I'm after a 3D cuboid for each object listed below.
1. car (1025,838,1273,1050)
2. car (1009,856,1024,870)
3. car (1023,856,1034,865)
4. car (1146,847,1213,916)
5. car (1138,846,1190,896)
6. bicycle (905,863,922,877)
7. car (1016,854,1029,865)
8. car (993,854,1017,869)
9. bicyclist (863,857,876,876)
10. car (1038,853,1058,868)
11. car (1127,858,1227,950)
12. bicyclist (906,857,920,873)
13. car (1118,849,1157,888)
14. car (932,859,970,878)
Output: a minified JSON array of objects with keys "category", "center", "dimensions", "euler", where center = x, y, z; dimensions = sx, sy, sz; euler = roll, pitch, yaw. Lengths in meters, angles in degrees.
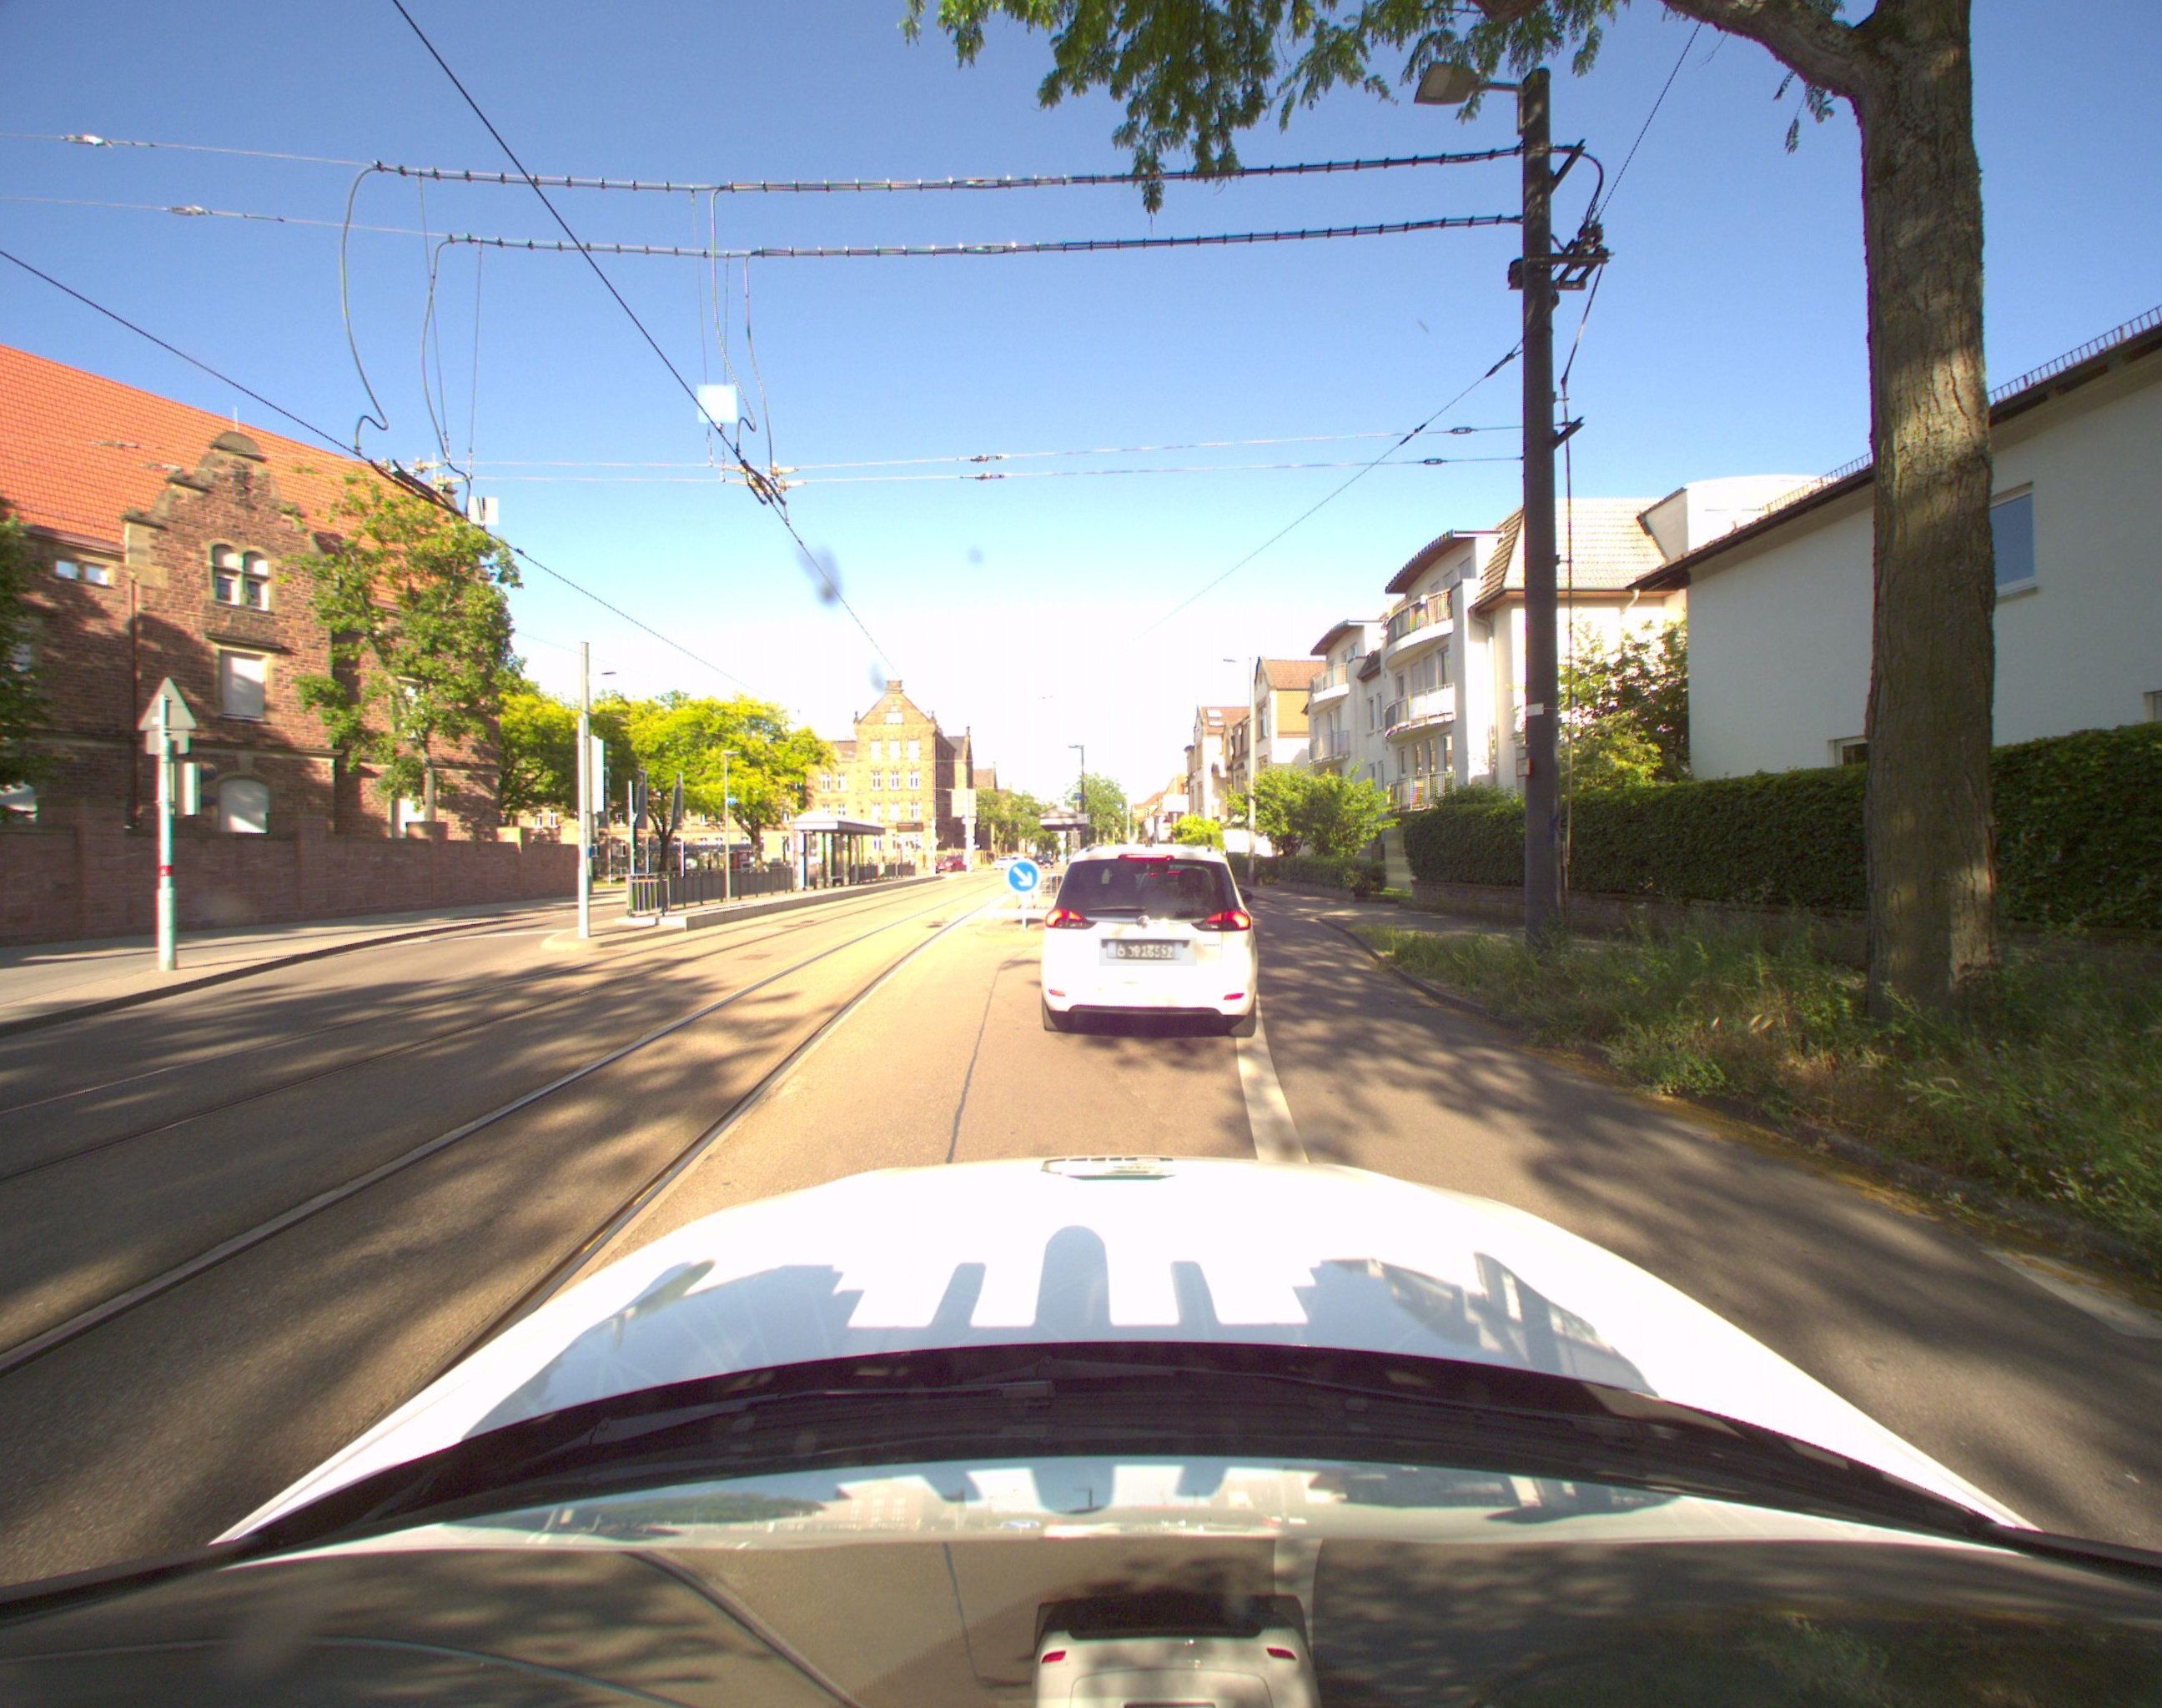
[{"category":"car","center":[0.759,0.676,8.195],"dimensions":[1.868,1.585,4.008],"euler":[-1,0,7]},{"category":"car","center":[-8.547,1.205,108.200],"dimensions":[1.822,1.788,4.251],"euler":[-1,0,-2]},{"category":"car","center":[-8.790,1.016,136.193],"dimensions":[1.822,1.446,4.323],"euler":[-1,-1,-2]},{"category":"car","center":[2.562,0.644,21.103],"dimensions":[1.560,1.614,3.792],"euler":[1,0,7]},{"category":"car","center":[2.915,0.577,29.238],"dimensions":[1.590,1.635,3.903],"euler":[1,0,2]},{"category":"bicycle","center":[-15.531,1.479,75.491],"dimensions":[0.810,1.198,1.958],"euler":[-2,-1,11]},{"category":"car","center":[-9.019,0.837,126.157],"dimensions":[1.823,1.617,4.322],"euler":[-1,-1,-3]},{"category":"car","center":[-9.228,0.916,99.331],"dimensions":[1.687,1.809,4.013],"euler":[-1,0,12]},{"category":"bicyclist","center":[-16.851,0.978,65.014],"dimensions":[0.650,1.459,1.153],"euler":[-1,0,3]},{"category":"car","center":[-3.816,0.732,94.259],"dimensions":[1.985,1.596,4.003],"euler":[-1,0,3]},{"category":"car","center":[1.775,0.804,14.865],"dimensions":[1.560,1.401,3.792],"euler":[1,0,7]},{"category":"bicyclist","center":[-15.559,1.035,75.416],"dimensions":[0.751,1.471,1.195],"euler":[-2,-1,14]},{"category":"car","center":[2.483,0.624,36.483],"dimensions":[1.590,1.635,3.903],"euler":[1,0,2]},{"category":"car","center":[-11.669,1.315,73.423],"dimensions":[1.805,1.607,4.375],"euler":[-1,0,14]}]
